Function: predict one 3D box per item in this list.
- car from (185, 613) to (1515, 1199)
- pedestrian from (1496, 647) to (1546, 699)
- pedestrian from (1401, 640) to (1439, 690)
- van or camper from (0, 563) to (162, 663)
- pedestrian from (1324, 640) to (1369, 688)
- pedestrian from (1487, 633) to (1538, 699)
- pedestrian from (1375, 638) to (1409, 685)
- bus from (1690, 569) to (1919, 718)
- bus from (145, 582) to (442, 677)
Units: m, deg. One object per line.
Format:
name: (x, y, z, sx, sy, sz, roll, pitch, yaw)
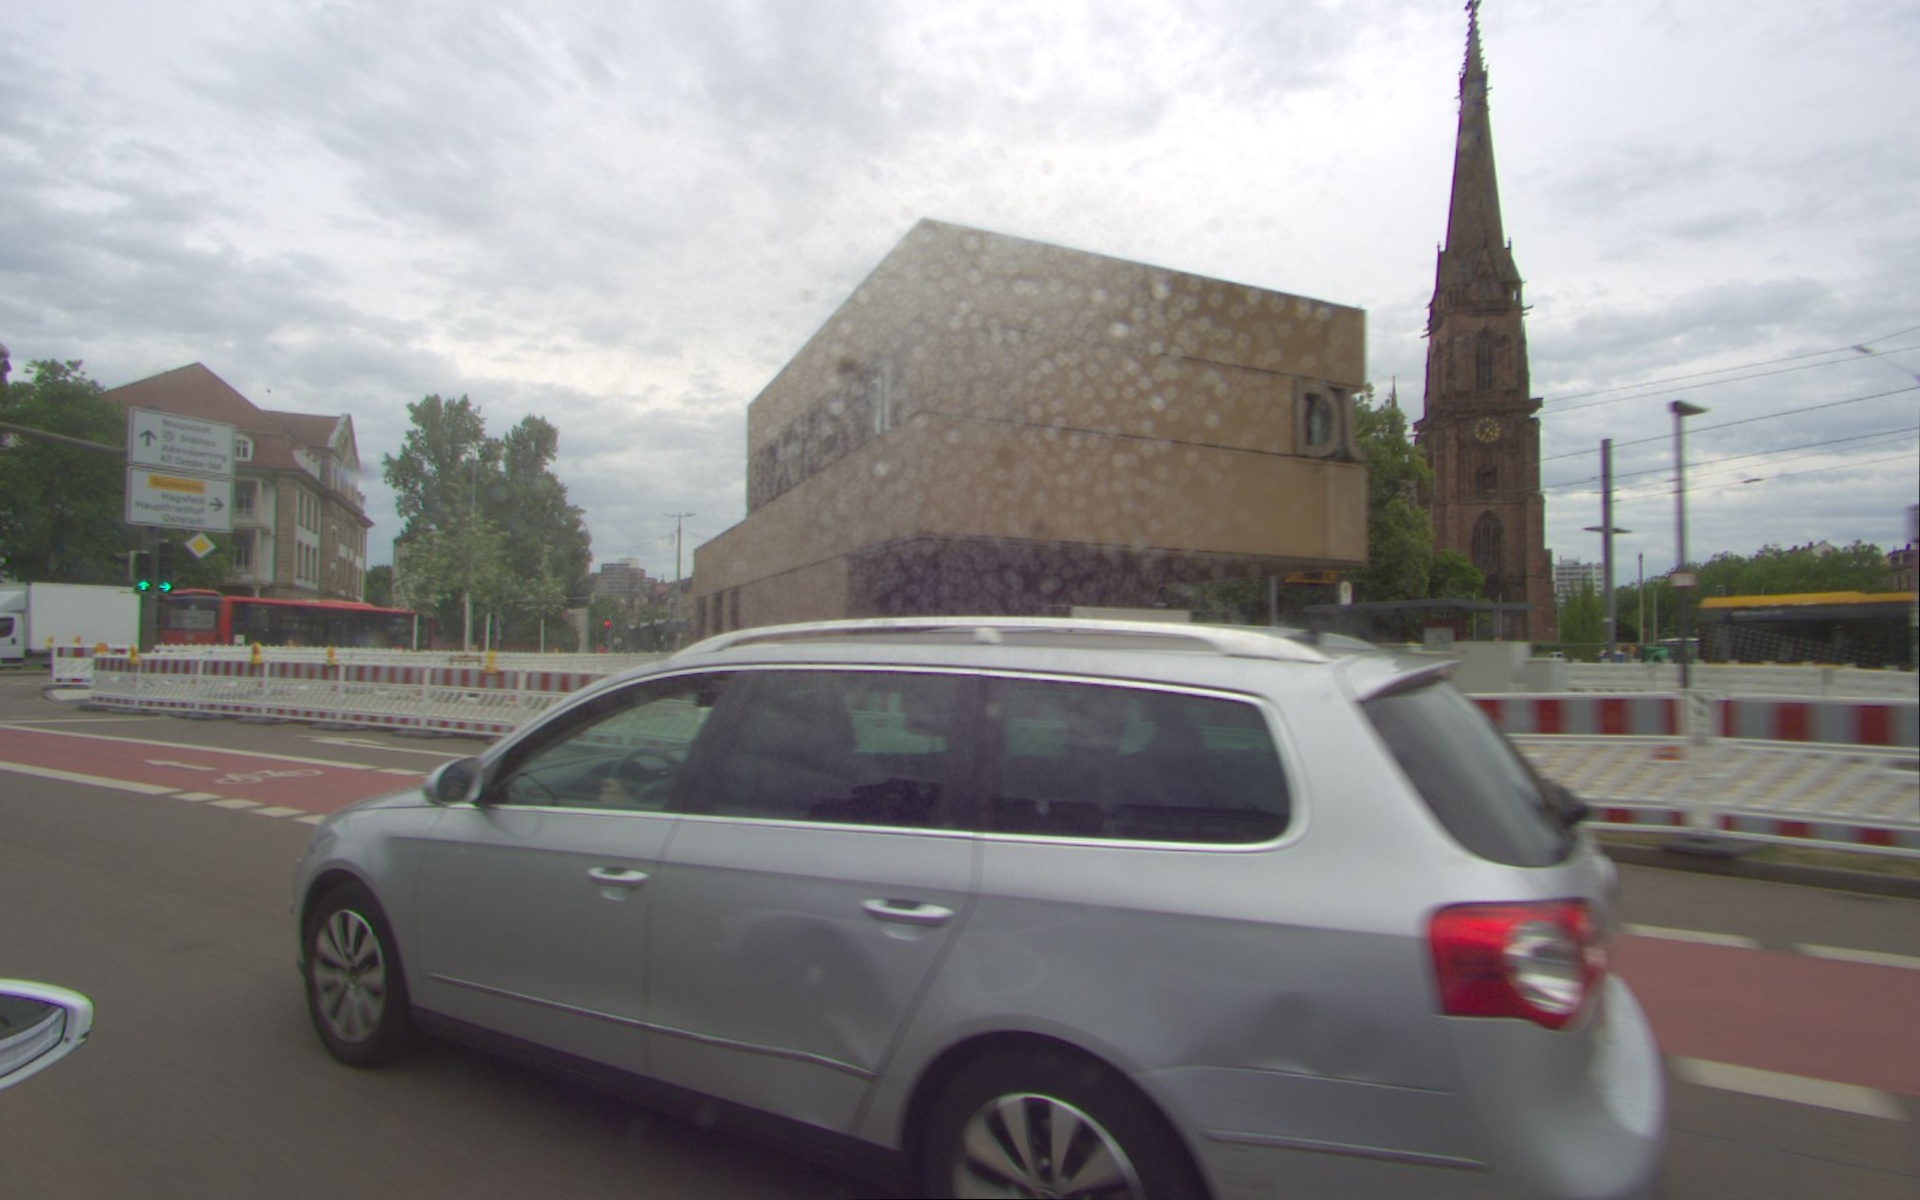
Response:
car: (-0.700, 0.817, 3.501, 4.562, 1.501, 1.717, -1, -1, 32)
pedestrian: (18.254, 2.369, 32.593, 0.990, 1.666, 1.019, 1, -2, -19)
pedestrian: (15.770, 2.211, 34.330, 0.772, 1.666, 0.918, 1, -2, -19)
van or camper: (-33.518, 0.553, 36.235, 2.822, 3.373, 7.152, -1, -2, 11)
pedestrian: (13.134, 2.157, 34.029, 1.004, 1.595, 1.005, 1, -2, -20)
pedestrian: (15.762, 1.862, 28.588, 0.812, 1.831, 1.019, 1, -2, -19)
pedestrian: (15.393, 2.188, 35.666, 0.780, 1.666, 0.799, 1, -1, -19)
bus: (23.418, 0.954, 21.459, 2.976, 3.309, 13.010, 1, -3, -22)
bus: (-26.736, 1.341, 41.539, 3.009, 3.338, 12.387, 0, -3, 6)
